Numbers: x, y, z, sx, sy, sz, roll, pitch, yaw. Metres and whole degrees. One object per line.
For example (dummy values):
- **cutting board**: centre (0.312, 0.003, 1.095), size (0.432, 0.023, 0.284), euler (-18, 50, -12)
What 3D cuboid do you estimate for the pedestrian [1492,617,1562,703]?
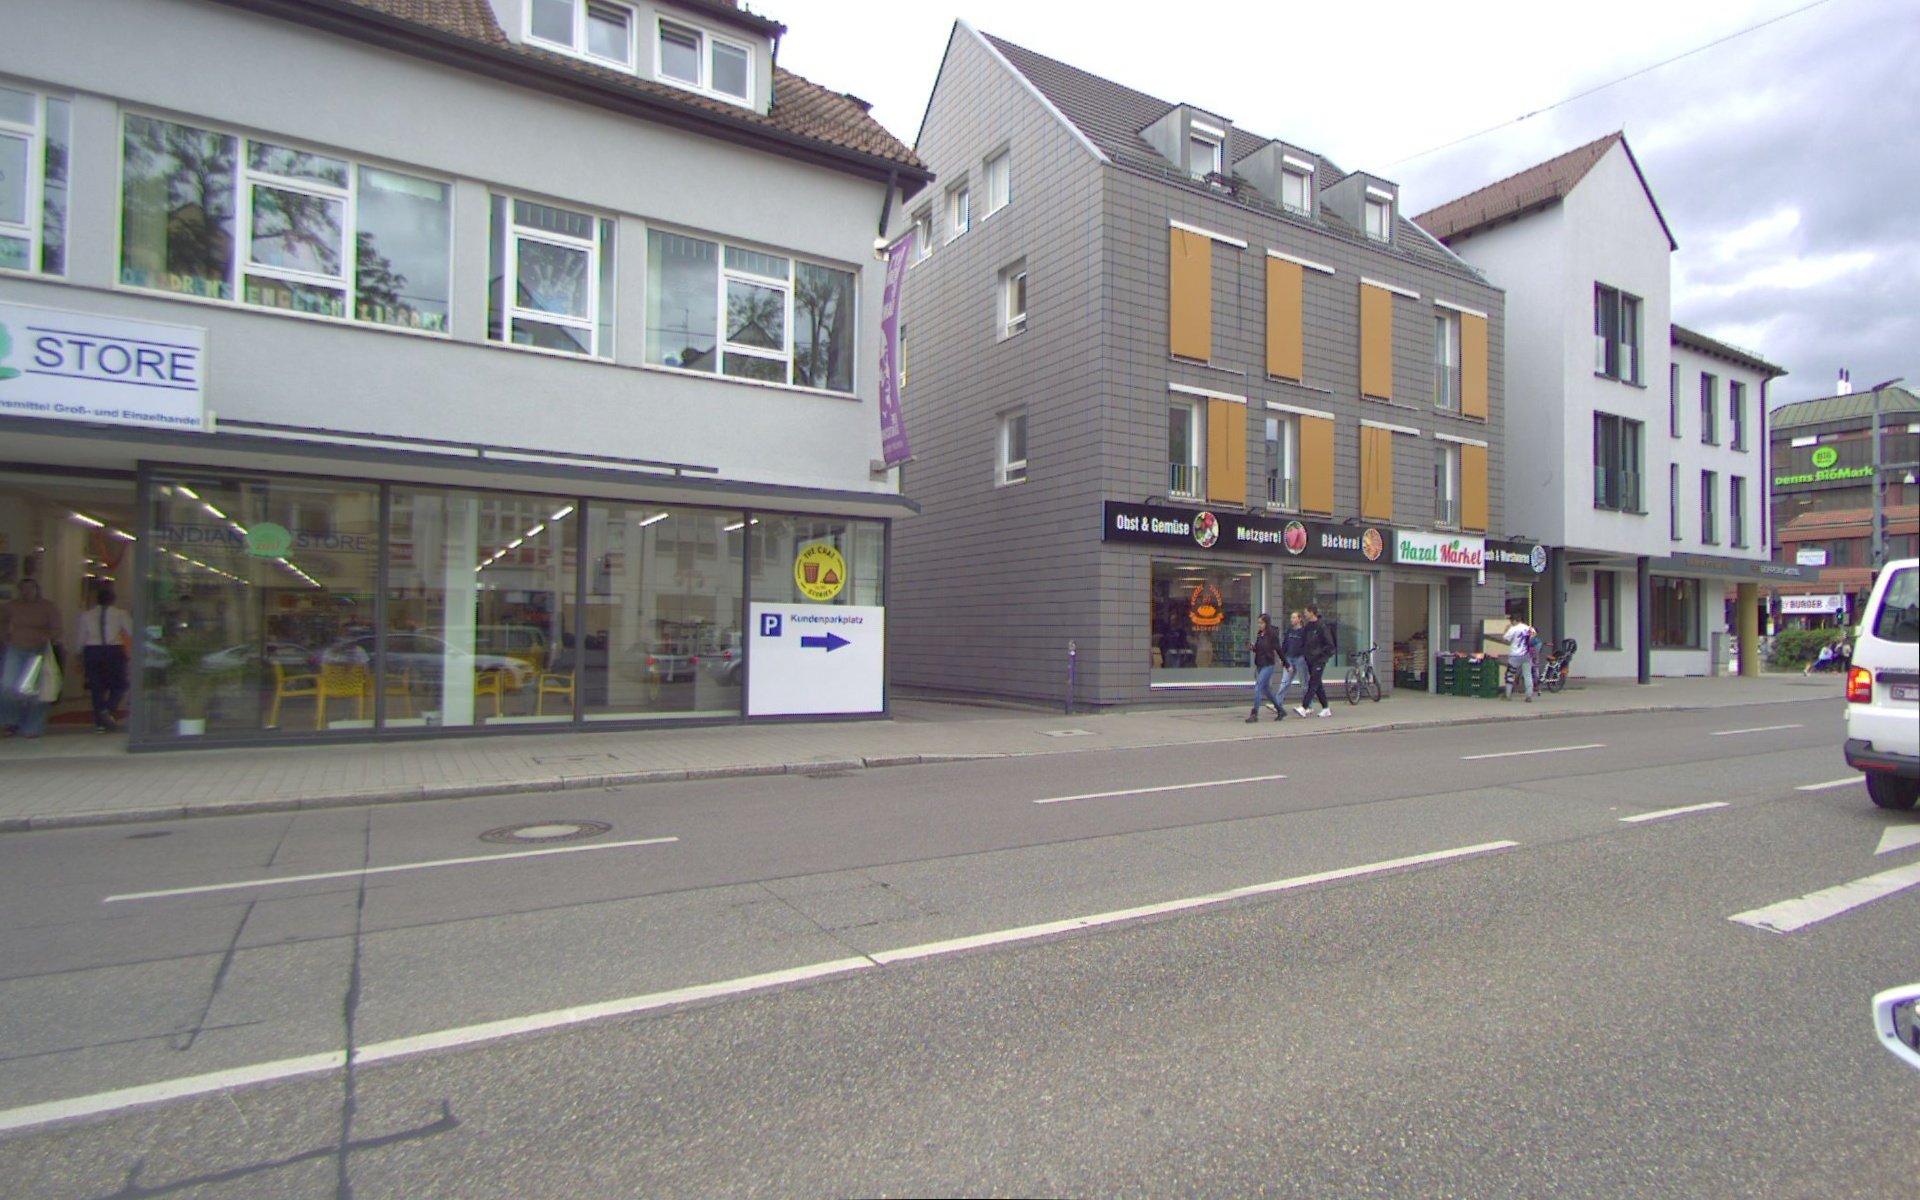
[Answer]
- **pedestrian**: centre (11.408, 1.188, 20.212), size (0.960, 1.665, 0.883), euler (1, -1, -30)

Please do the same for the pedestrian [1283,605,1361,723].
- **pedestrian**: centre (5.908, 1.023, 16.405), size (1.015, 1.863, 0.704), euler (1, -1, -29)

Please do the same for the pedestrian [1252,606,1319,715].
- **pedestrian**: centre (5.549, 1.015, 17.143), size (0.859, 1.805, 0.704), euler (1, -1, -29)

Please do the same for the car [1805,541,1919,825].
- **car**: centre (9.111, 0.640, 8.128), size (4.783, 2.040, 1.984), euler (1, 0, -30)

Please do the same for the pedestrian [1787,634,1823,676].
- **pedestrian**: centre (37.145, 2.407, 44.163), size (0.933, 1.778, 0.944), euler (1, -1, -28)

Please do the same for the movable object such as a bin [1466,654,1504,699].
- **movable object such as a bin**: centre (11.169, 1.613, 21.373), size (0.501, 0.911, 0.548), euler (1, -1, -32)

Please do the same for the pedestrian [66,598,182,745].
- **pedestrian**: centre (-9.598, 0.797, 11.547), size (0.713, 1.601, 0.846), euler (-1, -1, 34)

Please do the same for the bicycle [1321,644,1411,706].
- **bicycle**: centre (7.762, 1.406, 19.194), size (1.880, 1.115, 0.569), euler (1, -1, -30)

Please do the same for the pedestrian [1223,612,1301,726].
- **pedestrian**: centre (4.717, 1.052, 15.715), size (0.859, 1.720, 0.800), euler (1, -1, -29)

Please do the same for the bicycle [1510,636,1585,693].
- **bicycle**: centre (13.336, 1.442, 22.780), size (2.095, 1.248, 0.579), euler (1, -1, -32)
